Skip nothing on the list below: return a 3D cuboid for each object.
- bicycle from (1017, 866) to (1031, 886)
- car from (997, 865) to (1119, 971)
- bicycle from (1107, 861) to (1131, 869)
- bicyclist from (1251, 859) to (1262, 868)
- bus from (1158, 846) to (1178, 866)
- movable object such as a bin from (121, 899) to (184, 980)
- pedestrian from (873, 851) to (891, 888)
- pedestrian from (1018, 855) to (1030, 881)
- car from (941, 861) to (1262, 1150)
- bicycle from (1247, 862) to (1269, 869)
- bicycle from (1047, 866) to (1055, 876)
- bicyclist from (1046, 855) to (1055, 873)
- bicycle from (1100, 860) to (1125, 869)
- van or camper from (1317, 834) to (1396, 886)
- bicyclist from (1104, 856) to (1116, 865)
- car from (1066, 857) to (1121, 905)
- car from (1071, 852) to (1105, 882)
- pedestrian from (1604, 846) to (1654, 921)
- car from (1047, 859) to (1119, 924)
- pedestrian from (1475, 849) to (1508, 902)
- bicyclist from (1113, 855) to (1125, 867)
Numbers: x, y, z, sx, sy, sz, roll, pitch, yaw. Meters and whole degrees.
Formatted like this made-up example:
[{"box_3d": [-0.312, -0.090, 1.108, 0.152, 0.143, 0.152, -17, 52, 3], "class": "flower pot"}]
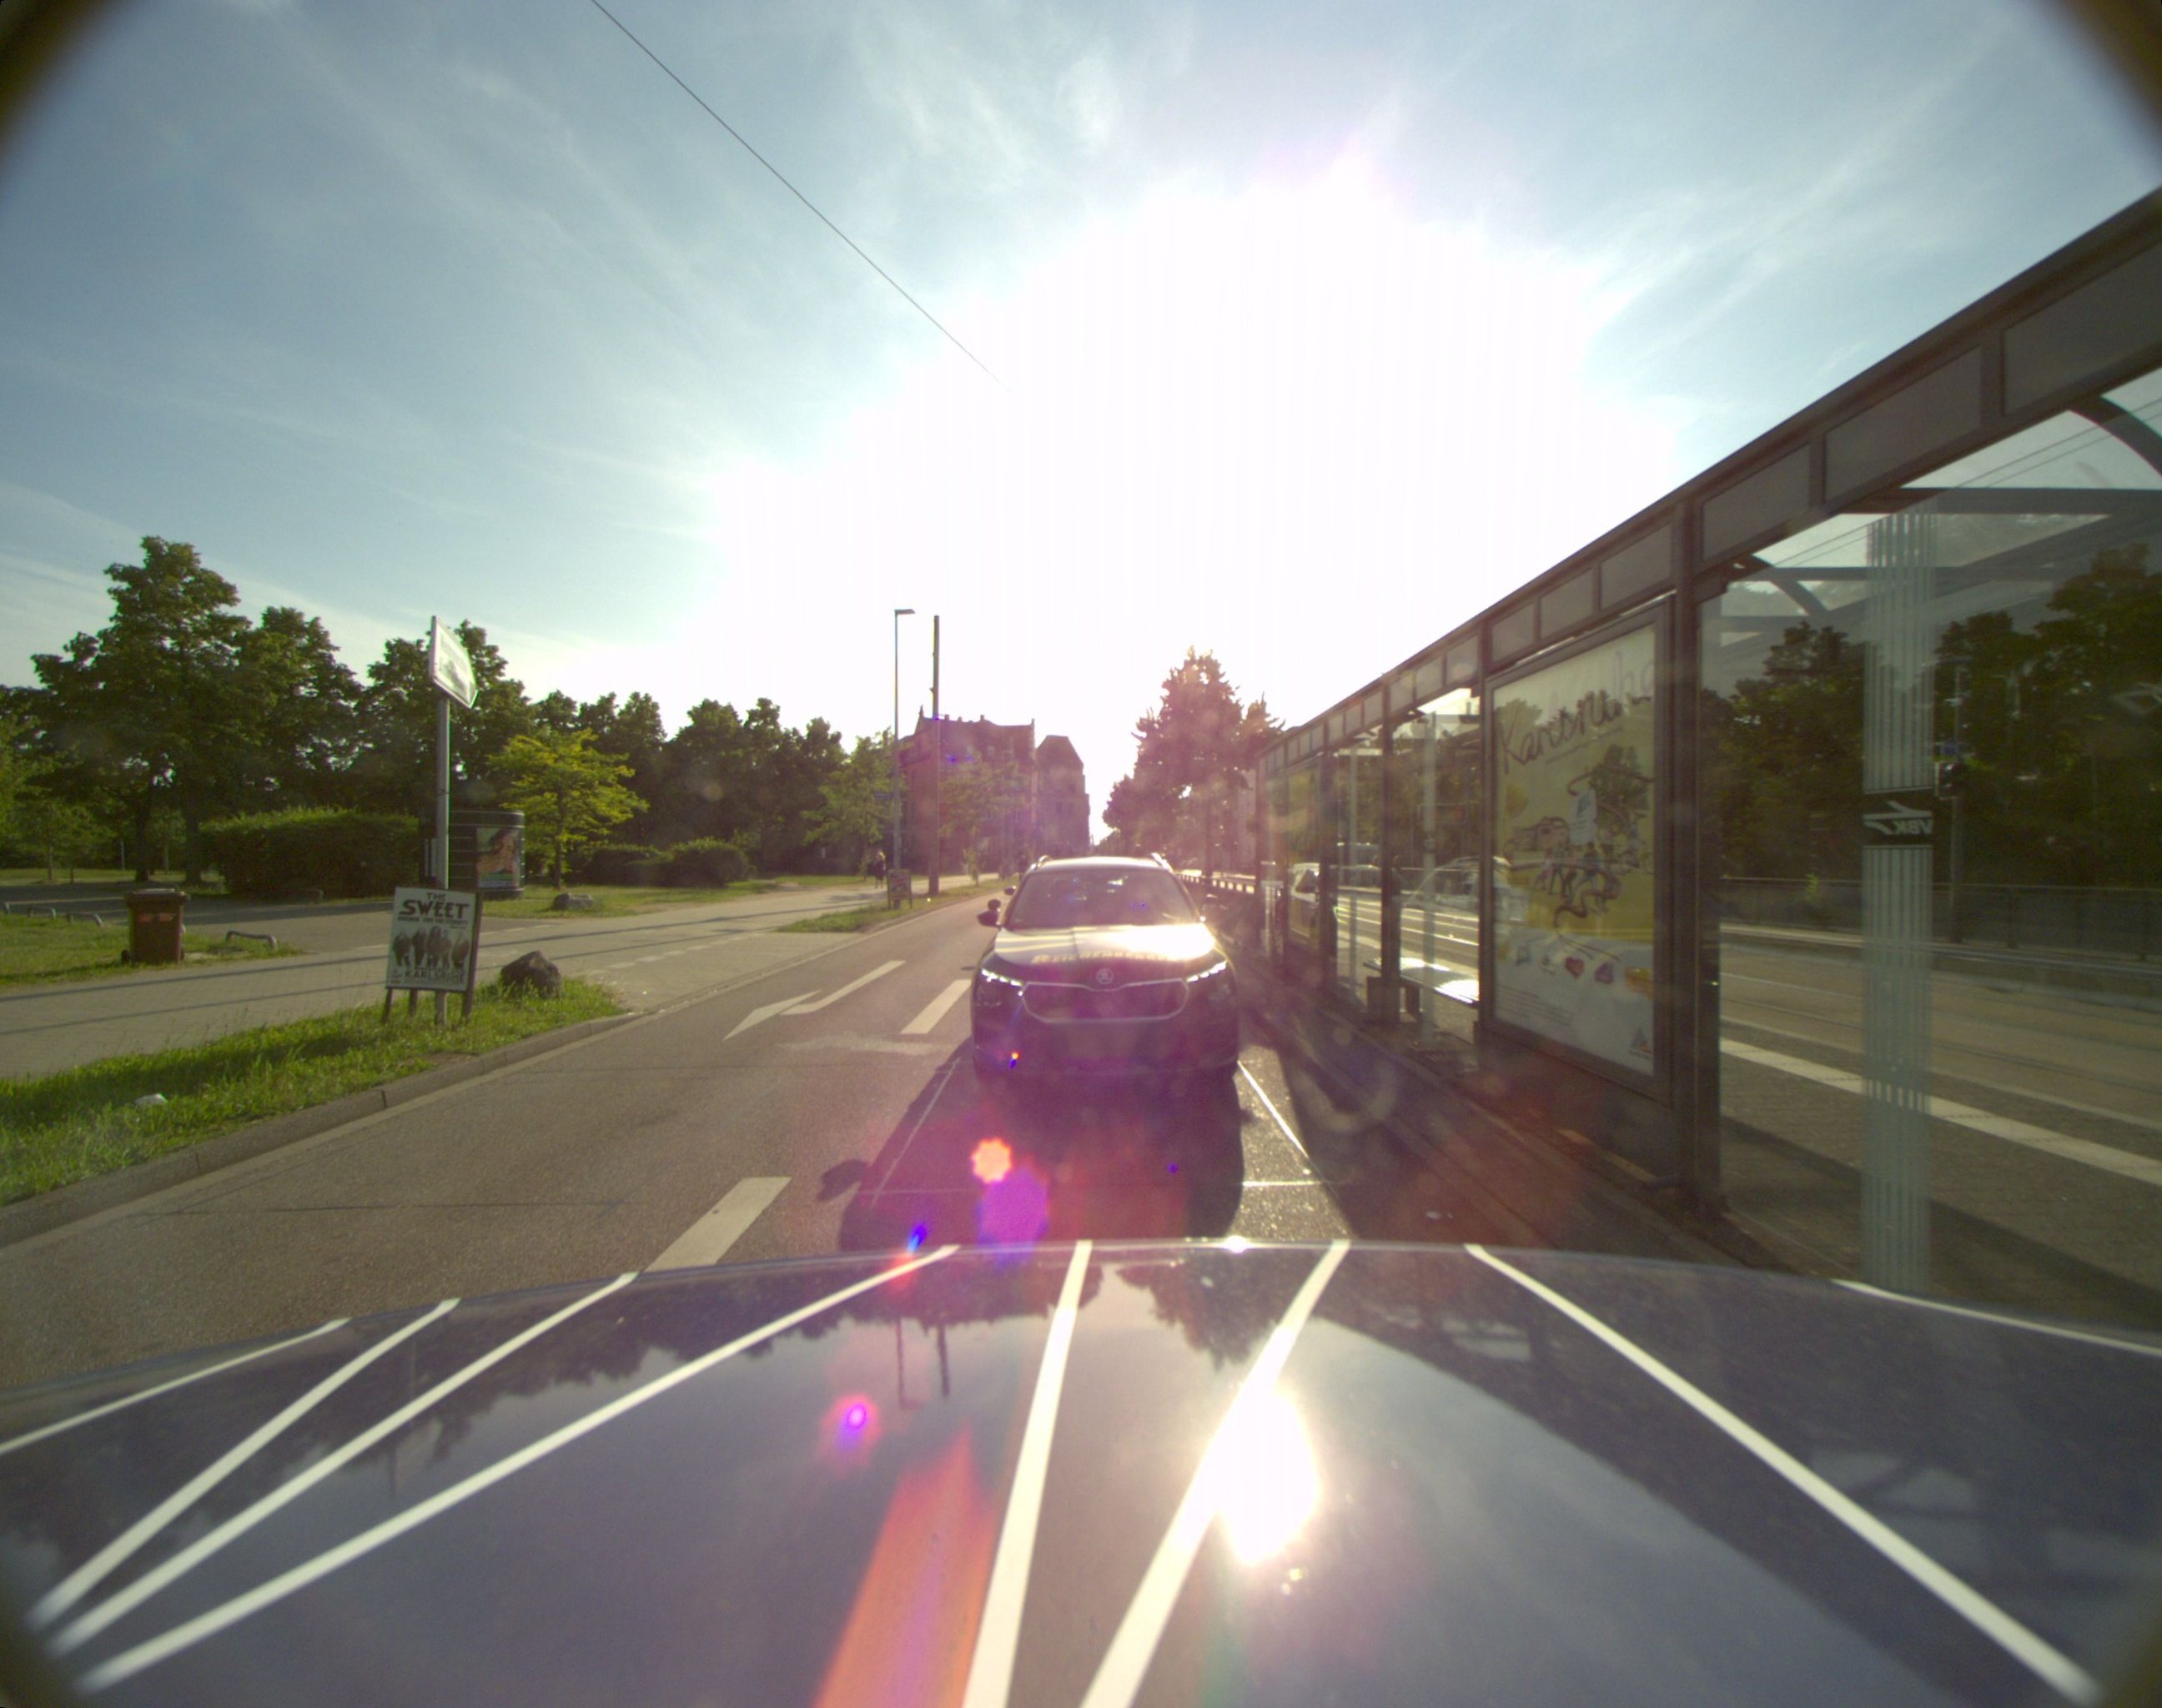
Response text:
[{"box_3d": [-3.341, 1.264, 44.499, 0.652, 1.040, 1.980, -2, 1, -1], "class": "bicycle"}, {"box_3d": [-0.305, 0.967, 13.270, 1.756, 1.451, 4.235, -1, 0, 1], "class": "car"}, {"box_3d": [4.729, 1.432, 95.000, 2.962, 0.974, 0.879, 0, 0, -2], "class": "bicycle"}, {"box_3d": [21.326, 1.180, 92.161, 1.217, 1.018, 0.671, 0, 0, 2], "class": "bicyclist"}, {"box_3d": [15.174, 0.307, 132.690, 2.437, 3.415, 9.261, -2, 1, 1], "class": "bus"}, {"box_3d": [-11.406, 1.030, 9.345, 0.603, 0.912, 0.457, 1, 1, 42], "class": "movable object such as a bin"}, {"box_3d": [-9.345, 0.723, 35.680, 0.621, 1.675, 0.618, -2, 1, 1], "class": "pedestrian"}, {"box_3d": [-3.356, 0.828, 44.776, 0.637, 1.512, 0.845, -2, 1, -1], "class": "pedestrian"}, {"box_3d": [0.148, 0.871, 6.362, 1.756, 1.534, 4.235, -1, 0, 1], "class": "car"}, {"box_3d": [21.482, 1.358, 92.194, 2.536, 0.876, 0.631, 0, 0, 5], "class": "bicycle"}, {"box_3d": [-2.470, 1.391, 62.507, 0.567, 0.789, 2.041, 0, 0, 0], "class": "bicycle"}, {"box_3d": [-2.505, 0.809, 62.486, 0.689, 1.445, 1.111, 0, 0, 0], "class": "bicyclist"}, {"box_3d": [3.749, 1.262, 91.180, 2.962, 0.974, 0.879, 0, 0, -2], "class": "bicycle"}, {"box_3d": [16.815, 0.307, 46.840, 2.527, 2.951, 6.411, -2, 1, 1], "class": "van or camper"}, {"box_3d": [3.505, 0.769, 91.102, 1.402, 1.000, 0.888, 0, 0, -1], "class": "bicyclist"}, {"box_3d": [0.441, 0.900, 27.097, 1.756, 1.534, 4.235, -1, 0, 1], "class": "car"}, {"box_3d": [0.400, 0.674, 41.562, 1.756, 1.534, 4.235, -1, 0, 1], "class": "car"}, {"box_3d": [12.830, 0.681, 17.797, 0.621, 1.675, 0.618, 3, 1, 1], "class": "pedestrian"}, {"box_3d": [0.089, 0.953, 20.964, 1.756, 1.534, 4.235, -1, 0, 1], "class": "car"}, {"box_3d": [13.271, 0.682, 24.555, 0.621, 1.675, 0.618, 3, 1, 1], "class": "pedestrian"}, {"box_3d": [4.732, 0.893, 94.991, 1.402, 1.538, 0.888, 0, 0, -1], "class": "bicyclist"}]
